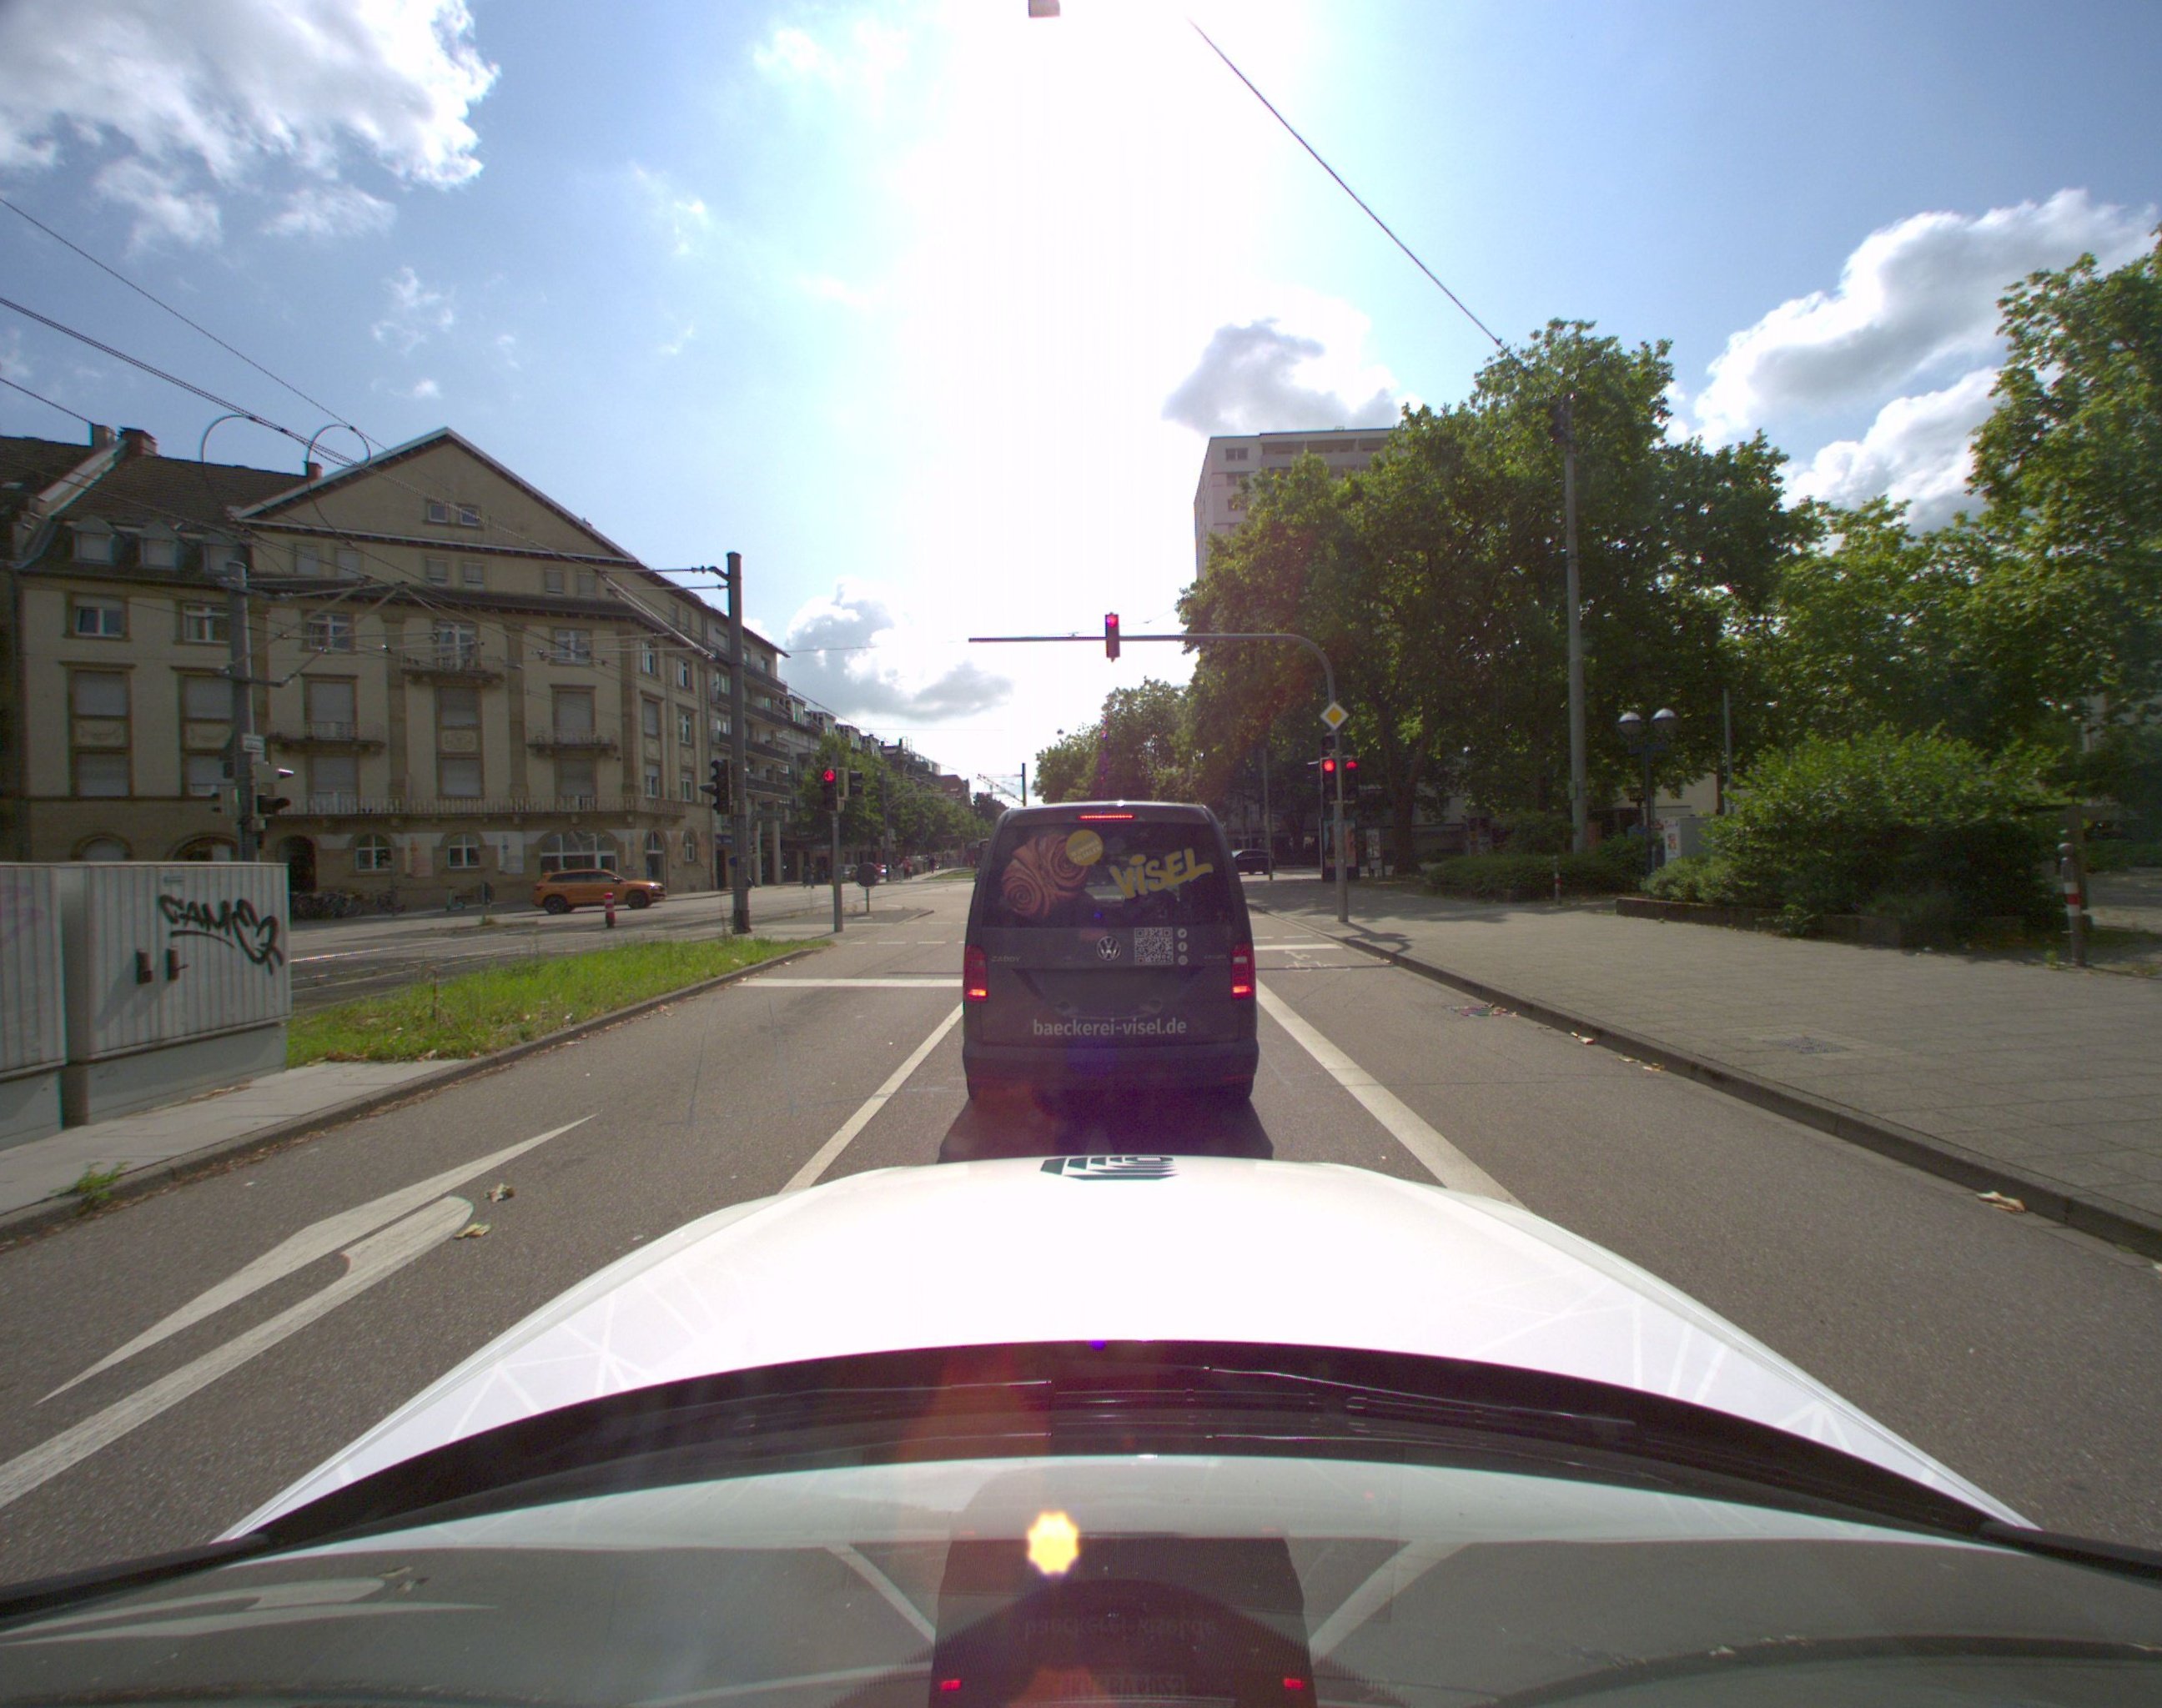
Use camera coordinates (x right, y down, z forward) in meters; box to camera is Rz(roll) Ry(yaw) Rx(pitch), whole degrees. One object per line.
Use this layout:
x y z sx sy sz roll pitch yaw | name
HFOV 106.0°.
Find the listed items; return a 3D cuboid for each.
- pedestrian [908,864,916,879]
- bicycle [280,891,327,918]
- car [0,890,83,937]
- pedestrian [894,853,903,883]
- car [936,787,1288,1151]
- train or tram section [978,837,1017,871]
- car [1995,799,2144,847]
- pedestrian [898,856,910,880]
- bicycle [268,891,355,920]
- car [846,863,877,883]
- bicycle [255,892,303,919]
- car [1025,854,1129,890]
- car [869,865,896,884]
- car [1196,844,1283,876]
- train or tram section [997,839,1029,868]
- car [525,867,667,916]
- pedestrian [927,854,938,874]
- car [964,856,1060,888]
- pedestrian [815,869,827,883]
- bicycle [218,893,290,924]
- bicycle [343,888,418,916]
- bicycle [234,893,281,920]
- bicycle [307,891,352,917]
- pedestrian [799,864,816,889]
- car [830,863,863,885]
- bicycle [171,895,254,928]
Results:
-12.844 1.328 61.872 0.462 1.144 0.435 -2 0 2 | pedestrian
-34.472 2.240 36.154 0.808 1.053 2.543 -2 0 -27 | bicycle
-41.522 2.325 32.124 3.950 1.639 1.813 -2 0 26 | car
-12.587 0.945 56.222 0.476 2.013 0.419 -2 0 -4 | pedestrian
0.217 0.575 5.827 1.743 1.808 3.476 -1 0 2 | car
-8.985 0.002 89.249 2.232 3.331 12.978 -2 0 2 | train or tram section
46.893 -1.461 38.729 4.396 2.013 2.079 -2 0 3 | car
-13.510 1.062 62.046 0.656 1.784 0.661 -2 0 2 | pedestrian
-33.003 2.209 34.980 2.571 1.053 0.676 -2 0 -26 | bicycle
-23.423 1.987 87.080 1.986 2.013 4.002 -2 0 2 | car
-35.227 2.253 35.815 0.744 1.053 2.543 -2 0 -27 | bicycle
-0.170 0.812 38.220 4.574 1.436 1.694 -2 0 -22 | car
-23.304 2.361 95.589 1.986 2.013 4.002 -2 0 2 | car
8.895 0.331 45.821 4.497 1.601 1.850 -2 0 -22 | car
-8.447 -0.068 102.651 2.232 3.331 14.021 -2 0 2 | train or tram section
-18.018 1.360 30.486 4.332 1.546 1.618 -2 0 -23 | car
-12.450 0.839 68.290 0.656 1.685 0.656 -2 0 2 | pedestrian
-3.455 0.870 40.765 4.499 1.390 1.694 -2 0 -22 | car
-23.152 1.975 72.539 0.751 1.211 0.704 -2 0 2 | pedestrian
-34.063 2.226 33.586 1.985 1.114 0.482 -2 0 -35 | bicycle
-31.994 2.185 37.279 0.797 1.053 2.576 -2 0 14 | bicycle
-36.159 2.272 35.801 0.744 1.053 2.343 -2 0 -27 | bicycle
-33.704 2.225 36.548 0.808 1.053 2.543 -2 0 -27 | bicycle
-17.986 1.469 53.505 0.865 1.596 0.686 -2 0 -34 | pedestrian
-23.694 1.991 82.380 1.986 2.013 4.002 -2 0 2 | car
-36.441 2.404 34.168 3.283 1.253 1.003 -2 0 18 | bicycle
